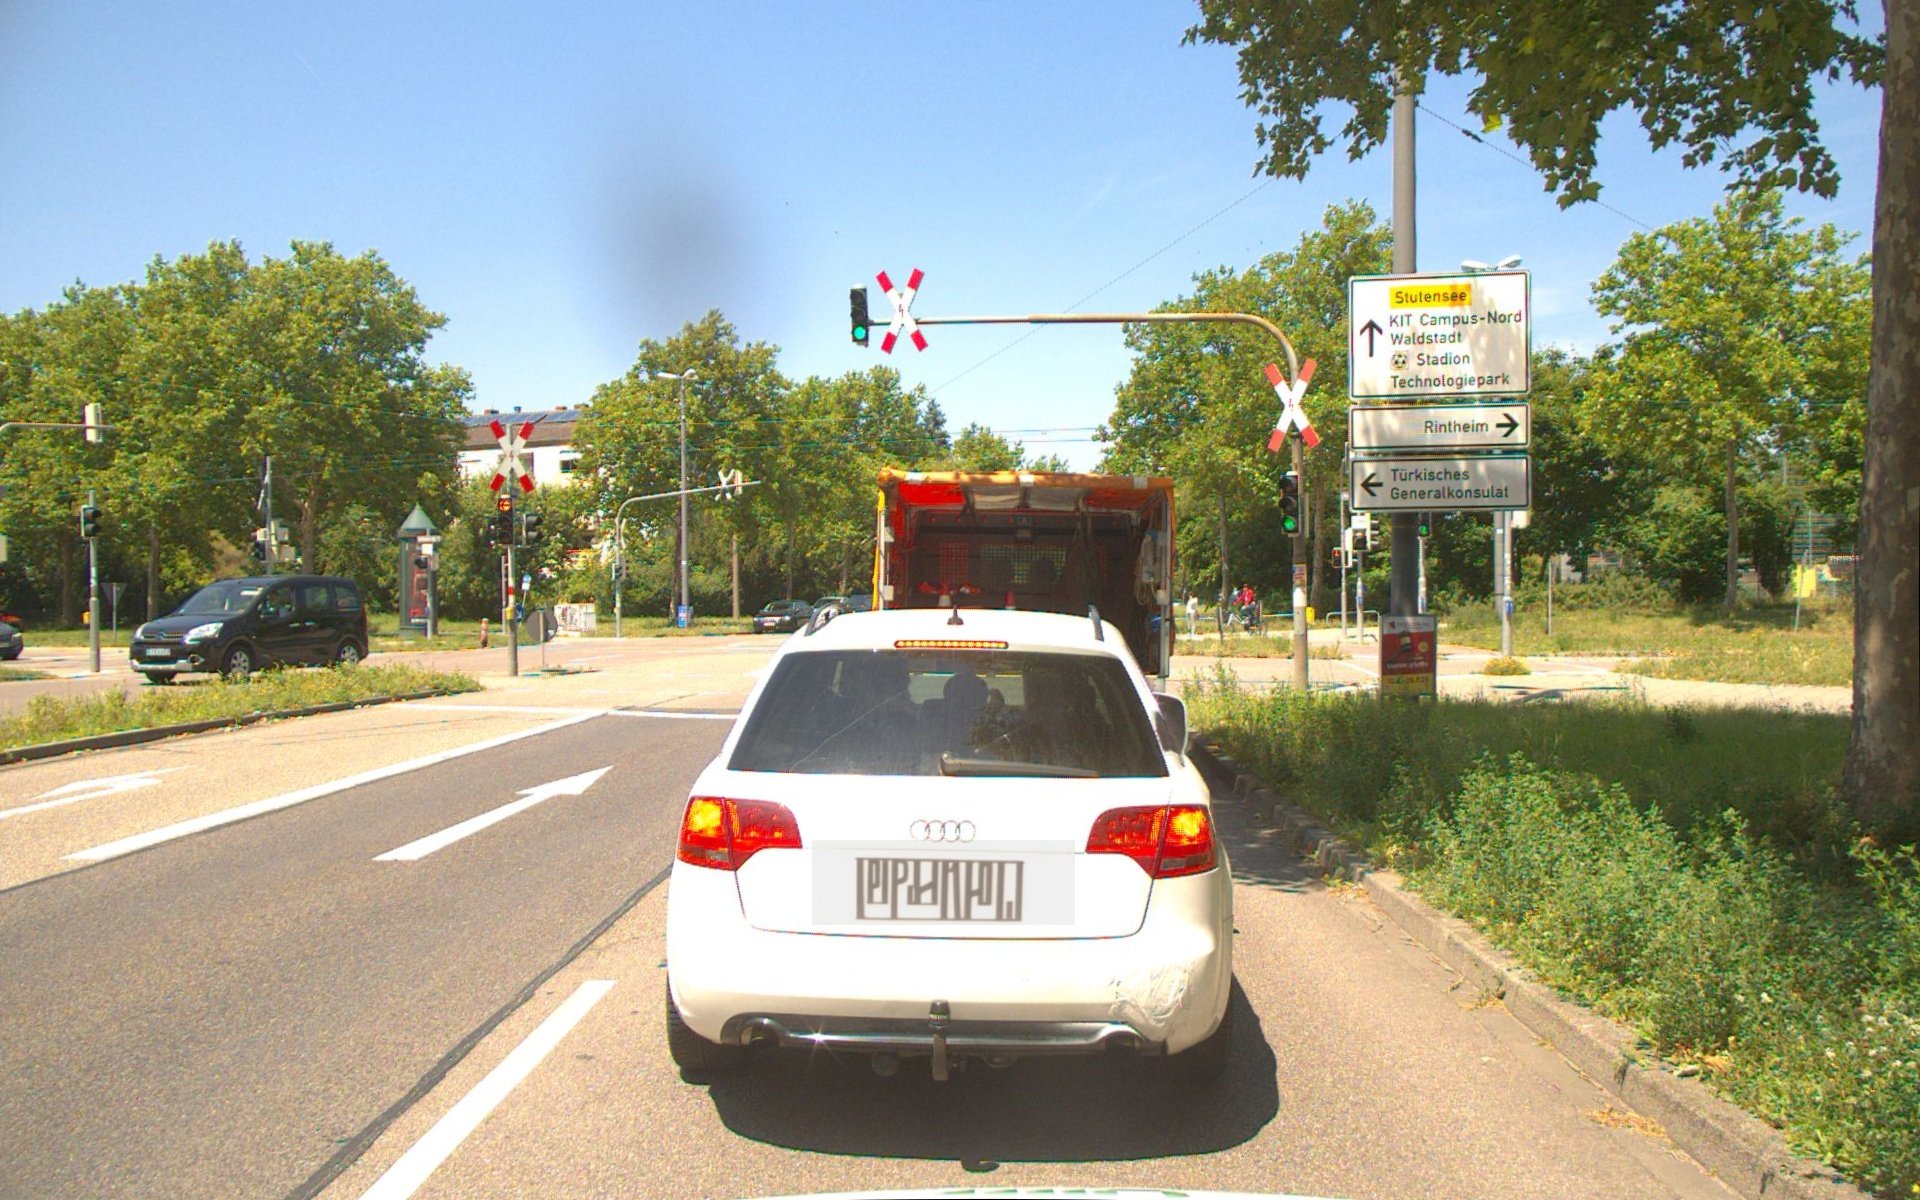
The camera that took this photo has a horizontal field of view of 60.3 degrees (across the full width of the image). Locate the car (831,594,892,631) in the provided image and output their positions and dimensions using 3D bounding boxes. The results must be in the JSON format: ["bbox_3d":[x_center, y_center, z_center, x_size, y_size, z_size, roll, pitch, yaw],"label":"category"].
[{"bbox_3d":[-4.379,0.527,74.055,1.868,1.566,4.302,-1,0,8],"label":"car"}]

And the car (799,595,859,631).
[{"bbox_3d":[-6.354,0.607,80.618,1.749,1.643,4.408,-1,0,11],"label":"car"}]

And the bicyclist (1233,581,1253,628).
[{"bbox_3d":[9.564,0.165,55.940,0.657,1.584,0.580,0,-1,9],"label":"bicyclist"}]

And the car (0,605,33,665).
[{"bbox_3d":[-25.482,0.898,41.946,3.907,1.483,1.760,-1,0,32],"label":"car"}]

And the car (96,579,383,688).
[{"bbox_3d":[-12.206,0.510,28.359,1.873,1.708,4.442,-1,0,23],"label":"car"}]

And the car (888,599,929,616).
[{"bbox_3d":[-4.323,0.632,139.141,1.844,1.417,3.997,0,0,26],"label":"car"}]

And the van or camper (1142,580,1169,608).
[{"bbox_3d":[23.831,-0.700,201.656,2.604,3.389,5.505,0,0,14],"label":"van or camper"}]

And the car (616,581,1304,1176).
[{"bbox_3d":[0.097,0.685,5.973,1.725,1.470,3.617,0,0,3],"label":"car"}]

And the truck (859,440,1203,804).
[{"bbox_3d":[0.672,0.166,15.816,2.459,2.604,7.605,1,0,2],"label":"truck"}]

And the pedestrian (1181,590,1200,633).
[{"bbox_3d":[8.127,0.397,58.297,0.541,1.510,0.630,-1,0,16],"label":"pedestrian"}]

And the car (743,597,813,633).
[{"bbox_3d":[-8.010,0.628,73.279,1.907,1.465,4.750,0,1,9],"label":"car"}]

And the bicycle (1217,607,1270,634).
[{"bbox_3d":[9.578,0.679,55.933,1.767,0.911,0.589,0,0,8],"label":"bicycle"}]
